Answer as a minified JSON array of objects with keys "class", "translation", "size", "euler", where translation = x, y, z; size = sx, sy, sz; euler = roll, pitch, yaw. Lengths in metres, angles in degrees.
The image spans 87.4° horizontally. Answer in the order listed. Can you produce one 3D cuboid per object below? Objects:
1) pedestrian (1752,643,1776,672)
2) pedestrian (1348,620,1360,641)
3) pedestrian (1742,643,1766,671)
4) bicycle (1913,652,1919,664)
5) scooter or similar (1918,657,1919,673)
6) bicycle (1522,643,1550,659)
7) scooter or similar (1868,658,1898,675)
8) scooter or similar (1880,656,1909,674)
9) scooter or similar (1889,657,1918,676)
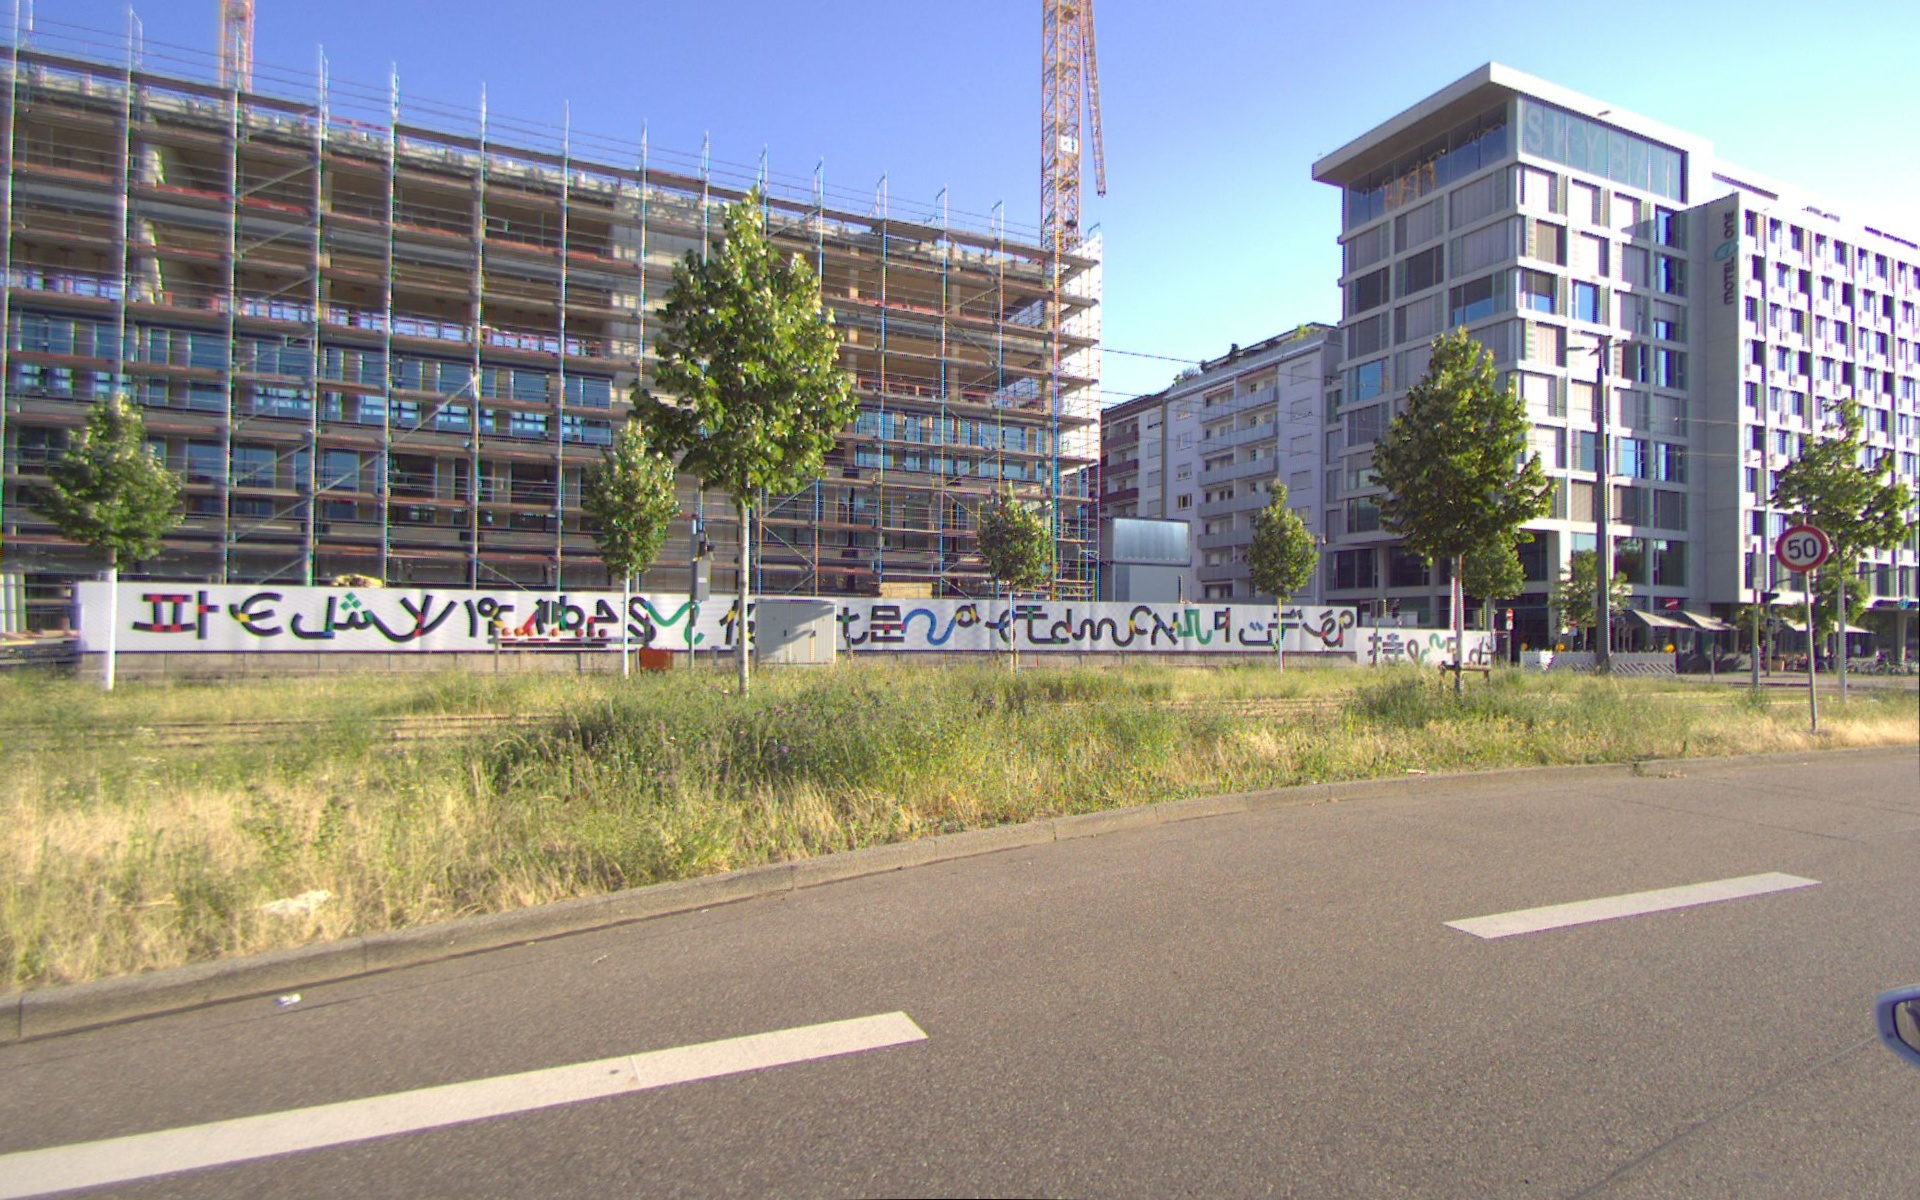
[{"class":"pedestrian","translation":[49.940,3.552,62.427],"size":[0.790,1.744,0.869],"euler":[1,-1,-15]},{"class":"pedestrian","translation":[28.676,2.187,73.109],"size":[0.569,1.518,0.584],"euler":[2,-2,-25]},{"class":"pedestrian","translation":[49.092,3.528,62.132],"size":[0.790,1.744,0.869],"euler":[1,-1,-15]},{"class":"bicycle","translation":[76.115,4.558,78.894],"size":[0.506,0.917,1.795],"euler":[2,-2,-30]},{"class":"scooter or similar","translation":[61.755,4.133,63.826],"size":[0.429,1.032,1.240],"euler":[1,-2,-23]},{"class":"bicycle","translation":[35.389,3.153,61.672],"size":[1.875,0.948,0.534],"euler":[2,-2,-26]},{"class":"scooter or similar","translation":[56.321,4.061,61.313],"size":[0.503,1.032,1.240],"euler":[1,-2,-23]},{"class":"scooter or similar","translation":[57.672,4.012,61.982],"size":[0.429,1.032,1.240],"euler":[1,-2,-23]},{"class":"scooter or similar","translation":[59.240,4.176,63.073],"size":[0.400,1.187,1.240],"euler":[1,-2,-23]}]
